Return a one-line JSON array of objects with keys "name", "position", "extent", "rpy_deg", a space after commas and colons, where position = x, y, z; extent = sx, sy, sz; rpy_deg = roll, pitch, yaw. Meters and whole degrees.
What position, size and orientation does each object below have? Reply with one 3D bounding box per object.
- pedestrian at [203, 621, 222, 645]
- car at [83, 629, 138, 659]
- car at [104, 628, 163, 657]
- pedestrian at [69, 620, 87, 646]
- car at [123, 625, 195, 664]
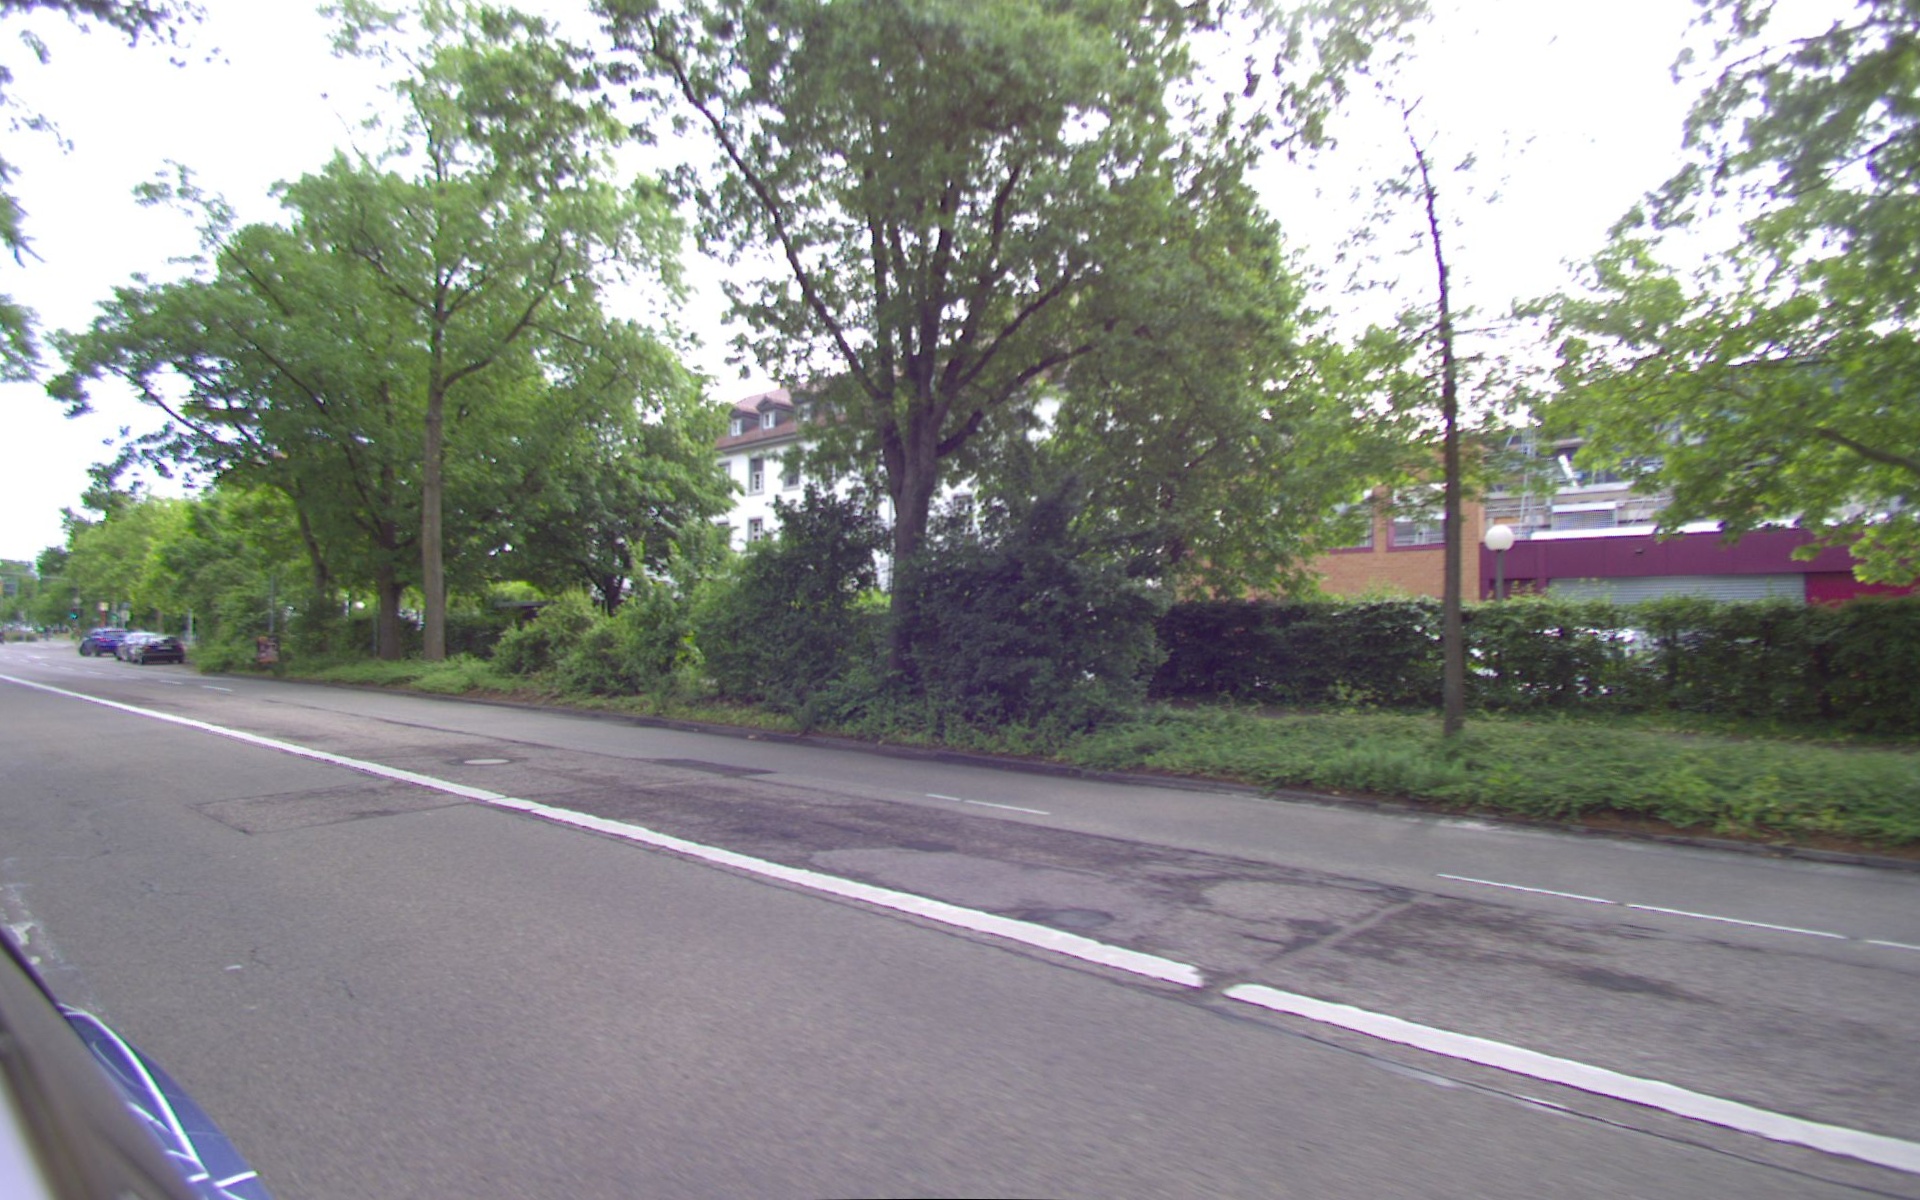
[{"name": "pedestrian", "position": [-64.142, 2.872, 86.875], "extent": [1.091, 2.029, 0.789], "rpy_deg": [0, -3, 24]}, {"name": "car", "position": [-48.408, 2.492, 57.633], "extent": [4.592, 1.620, 1.839], "rpy_deg": [-1, -1, 43]}, {"name": "car", "position": [-42.065, 2.125, 51.457], "extent": [4.730, 1.435, 1.852], "rpy_deg": [-1, -2, 45]}, {"name": "pedestrian", "position": [-70.247, 2.655, 80.587], "extent": [1.008, 2.029, 0.885], "rpy_deg": [-1, -3, 39]}, {"name": "car", "position": [-37.795, 2.055, 47.724], "extent": [3.998, 1.702, 1.973], "rpy_deg": [-1, -1, 41]}]
